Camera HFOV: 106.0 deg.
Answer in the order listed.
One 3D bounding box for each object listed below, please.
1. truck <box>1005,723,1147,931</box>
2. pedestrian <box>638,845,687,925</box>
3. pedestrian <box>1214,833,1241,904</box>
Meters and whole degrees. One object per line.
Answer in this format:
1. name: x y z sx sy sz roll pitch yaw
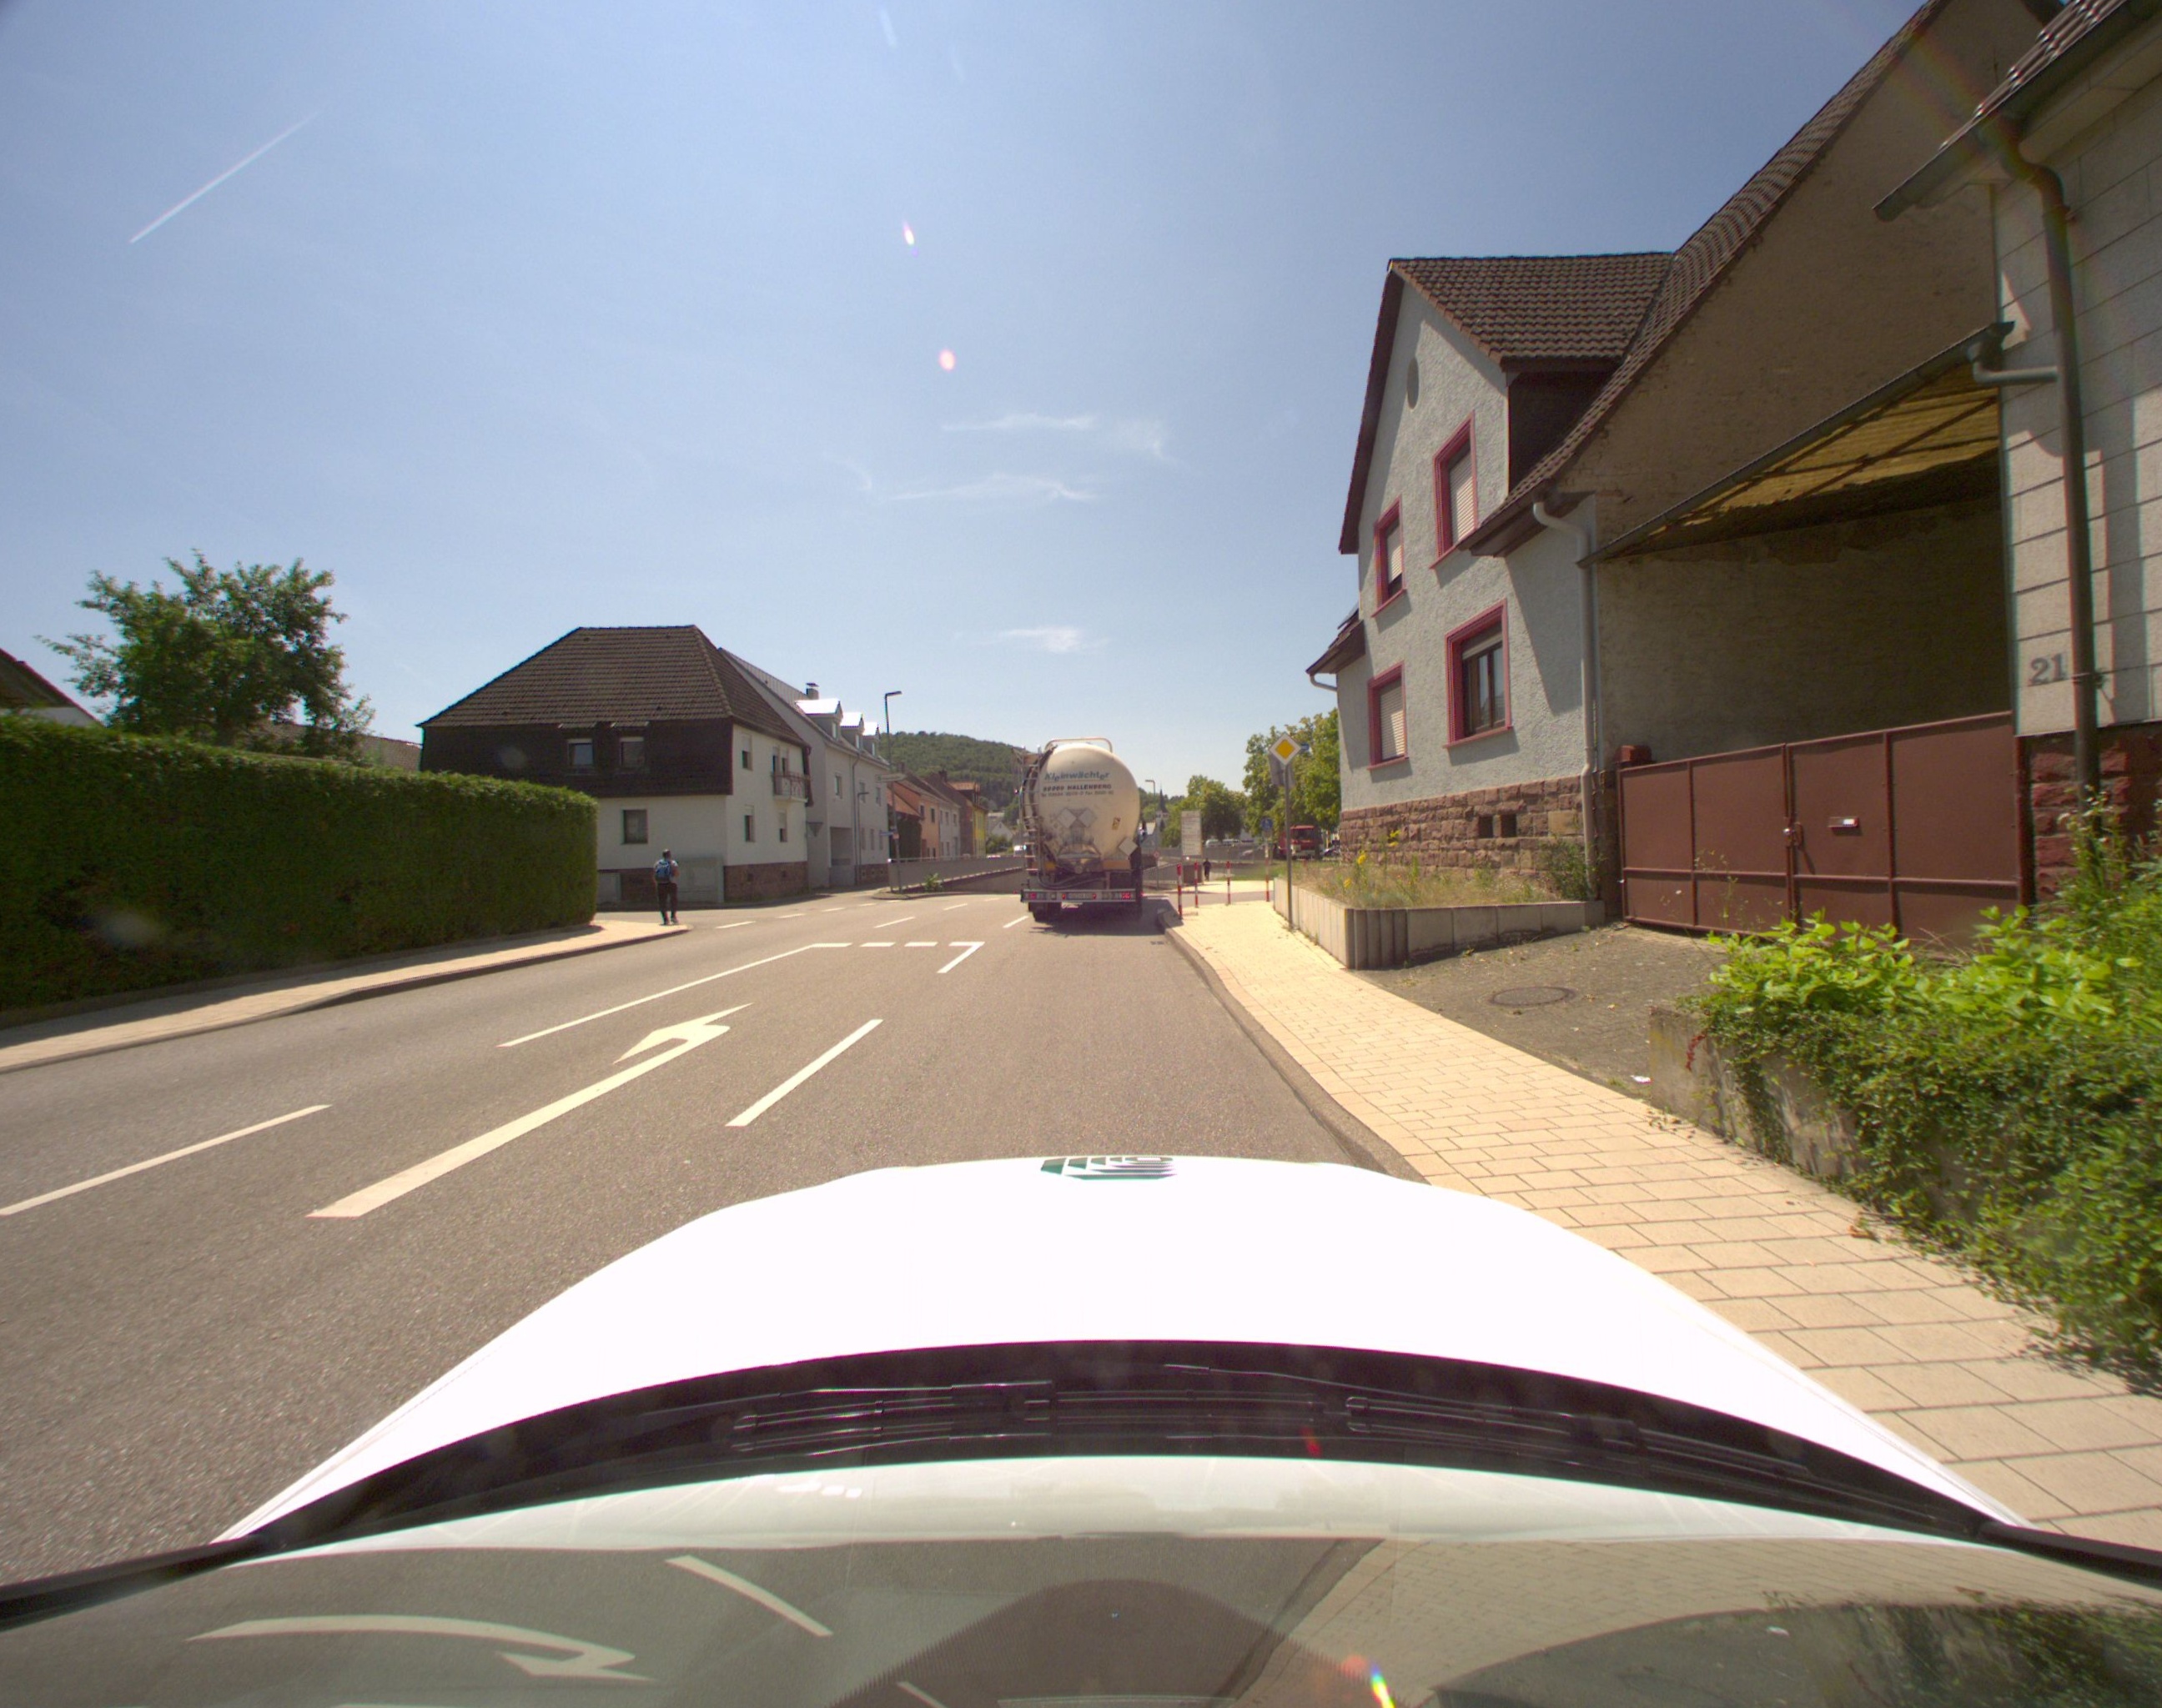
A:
1. truck: -0.139 -0.535 21.493 2.742 4.057 10.886 -1 0 0
2. pedestrian: -9.819 0.713 19.142 0.711 1.823 0.897 0 -1 -4
3. pedestrian: 3.577 0.354 19.962 0.568 1.694 0.721 0 -1 4
